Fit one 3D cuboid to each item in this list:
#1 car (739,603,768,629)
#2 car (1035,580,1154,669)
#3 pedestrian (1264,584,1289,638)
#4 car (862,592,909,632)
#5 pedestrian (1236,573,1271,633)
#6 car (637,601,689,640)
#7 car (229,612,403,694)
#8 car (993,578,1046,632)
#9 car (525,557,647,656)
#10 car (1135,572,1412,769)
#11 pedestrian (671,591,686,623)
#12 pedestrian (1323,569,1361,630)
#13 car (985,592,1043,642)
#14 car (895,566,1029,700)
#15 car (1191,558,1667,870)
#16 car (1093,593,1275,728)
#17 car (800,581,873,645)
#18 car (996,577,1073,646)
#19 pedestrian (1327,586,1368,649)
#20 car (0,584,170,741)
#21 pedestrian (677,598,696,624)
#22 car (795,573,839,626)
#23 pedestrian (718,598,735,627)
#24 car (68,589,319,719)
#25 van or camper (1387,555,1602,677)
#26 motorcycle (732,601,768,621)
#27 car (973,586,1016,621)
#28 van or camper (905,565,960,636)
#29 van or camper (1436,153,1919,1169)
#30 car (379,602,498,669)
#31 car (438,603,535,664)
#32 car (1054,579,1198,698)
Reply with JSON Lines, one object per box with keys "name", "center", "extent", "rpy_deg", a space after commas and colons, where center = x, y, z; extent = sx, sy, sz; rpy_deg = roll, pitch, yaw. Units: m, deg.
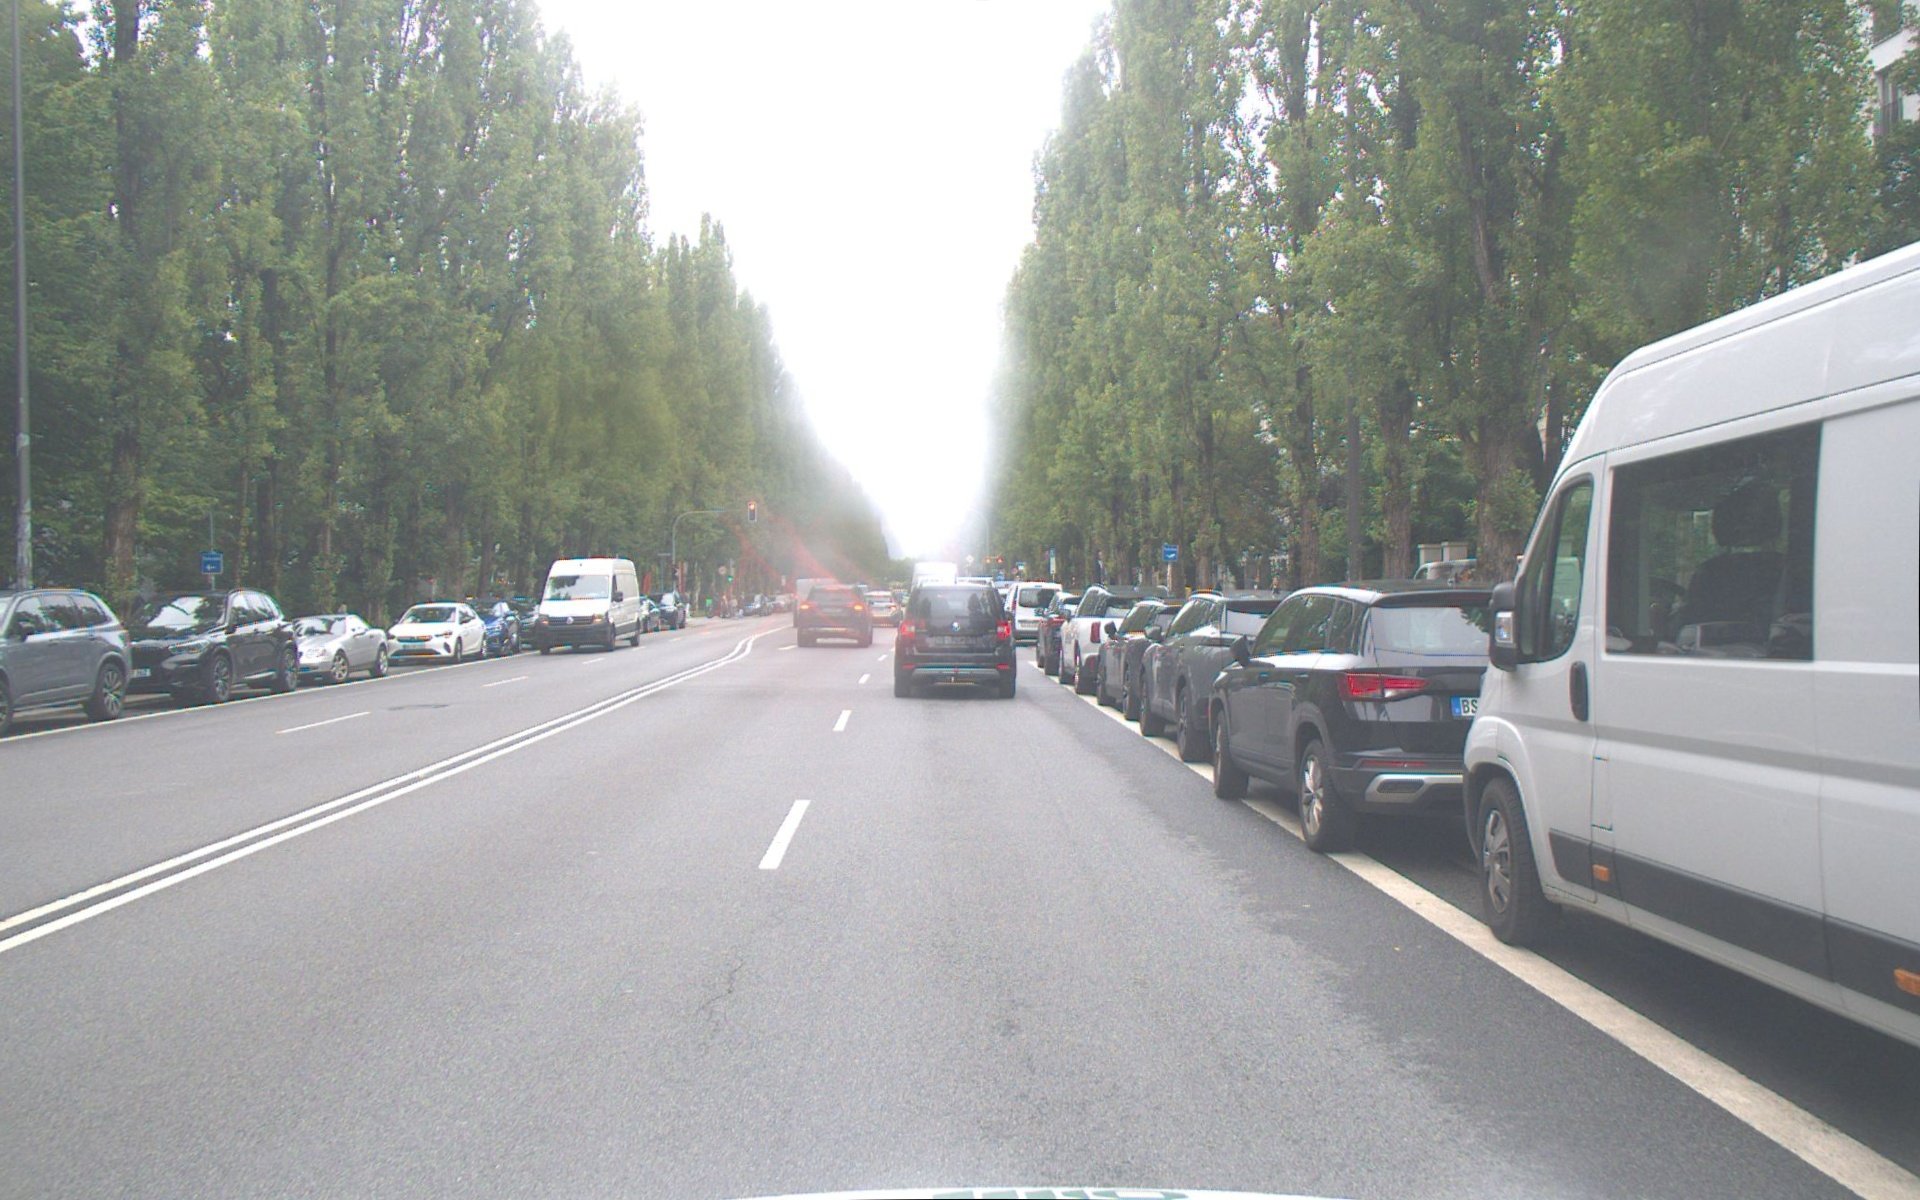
{"name": "car", "center": [-14.701, 1.110, 117.916], "extent": [1.654, 1.814, 3.774], "rpy_deg": [-1, 0, -1]}
{"name": "car", "center": [2.500, 0.416, 31.669], "extent": [1.842, 1.567, 4.463], "rpy_deg": [-1, 0, -1]}
{"name": "pedestrian", "center": [9.577, 0.341, 50.041], "extent": [0.556, 1.606, 0.867], "rpy_deg": [-1, 0, -2]}
{"name": "car", "center": [-3.150, 0.476, 70.221], "extent": [1.953, 1.588, 3.998], "rpy_deg": [-1, 1, -2]}
{"name": "pedestrian", "center": [8.844, 0.085, 49.884], "extent": [0.836, 1.747, 0.867], "rpy_deg": [-2, 0, -2]}
{"name": "car", "center": [-13.867, 0.917, 77.440], "extent": [1.812, 1.683, 4.692], "rpy_deg": [-3, 0, -4]}
{"name": "car", "center": [-12.447, 0.984, 32.269], "extent": [1.790, 1.357, 4.232], "rpy_deg": [-3, 0, -2]}
{"name": "car", "center": [2.154, 0.159, 61.059], "extent": [1.700, 1.928, 4.024], "rpy_deg": [-1, 0, -1]}
{"name": "car", "center": [-10.531, 0.174, 47.152], "extent": [2.184, 2.526, 6.754], "rpy_deg": [-2, 0, -3]}
{"name": "car", "center": [2.909, 0.581, 16.363], "extent": [1.748, 1.646, 4.636], "rpy_deg": [-1, 0, -1]}
{"name": "pedestrian", "center": [-14.253, 0.333, 83.789], "extent": [0.647, 1.605, 0.530], "rpy_deg": [-1, 0, -1]}
{"name": "pedestrian", "center": [11.532, -0.029, 49.889], "extent": [0.787, 1.813, 0.817], "rpy_deg": [-1, 0, -19]}
{"name": "car", "center": [1.773, 0.541, 55.772], "extent": [1.706, 1.620, 4.210], "rpy_deg": [-1, 0, -1]}
{"name": "car", "center": [-0.014, 0.455, 24.911], "extent": [1.818, 1.801, 3.999], "rpy_deg": [1, 0, -1]}
{"name": "car", "center": [2.882, 0.604, 11.248], "extent": [1.749, 1.677, 4.415], "rpy_deg": [-1, 0, -3]}
{"name": "car", "center": [2.780, 0.694, 21.388], "extent": [1.668, 1.546, 4.294], "rpy_deg": [-1, 0, -1]}
{"name": "car", "center": [-3.321, 0.326, 44.979], "extent": [1.745, 1.648, 4.024], "rpy_deg": [-1, 0, -1]}
{"name": "car", "center": [2.138, 0.302, 48.573], "extent": [1.814, 1.914, 4.165], "rpy_deg": [-1, 0, -3]}
{"name": "pedestrian", "center": [11.646, 0.526, 49.706], "extent": [0.889, 1.831, 0.825], "rpy_deg": [-1, 2, -22]}
{"name": "car", "center": [-12.135, 0.774, 20.879], "extent": [1.871, 1.820, 5.178], "rpy_deg": [-3, 0, -2]}
{"name": "pedestrian", "center": [-17.863, 0.722, 108.075], "extent": [0.874, 1.684, 0.866], "rpy_deg": [-1, 0, -39]}
{"name": "car", "center": [-5.991, -0.037, 69.481], "extent": [1.746, 2.148, 4.021], "rpy_deg": [-1, 0, -4]}
{"name": "pedestrian", "center": [-14.956, 0.785, 105.996], "extent": [0.950, 1.798, 0.677], "rpy_deg": [-1, 0, -23]}
{"name": "car", "center": [-12.204, 0.785, 26.746], "extent": [1.902, 1.798, 4.893], "rpy_deg": [-3, 0, -3]}
{"name": "van or camper", "center": [9.371, 0.241, 29.540], "extent": [2.034, 1.967, 5.367], "rpy_deg": [0, 0, -1]}
{"name": "motorcycle", "center": [-13.896, 0.716, 109.455], "extent": [2.315, 1.292, 0.930], "rpy_deg": [0, 0, -1]}
{"name": "car", "center": [1.475, 0.141, 72.416], "extent": [1.700, 1.501, 3.561], "rpy_deg": [-1, 0, -1]}
{"name": "van or camper", "center": [-1.074, 0.008, 63.345], "extent": [1.936, 2.593, 4.022], "rpy_deg": [-1, 0, -3]}
{"name": "van or camper", "center": [3.473, 0.150, 4.974], "extent": [2.095, 2.584, 6.415], "rpy_deg": [0, 0, -1]}
{"name": "car", "center": [-12.878, 0.839, 41.078], "extent": [1.735, 1.477, 4.231], "rpy_deg": [-3, 0, -3]}
{"name": "car", "center": [-12.880, 0.883, 45.155], "extent": [1.675, 1.476, 3.584], "rpy_deg": [-3, 0, -3]}
{"name": "car", "center": [2.538, 0.541, 26.313], "extent": [1.707, 1.705, 4.578], "rpy_deg": [-1, 0, -1]}
